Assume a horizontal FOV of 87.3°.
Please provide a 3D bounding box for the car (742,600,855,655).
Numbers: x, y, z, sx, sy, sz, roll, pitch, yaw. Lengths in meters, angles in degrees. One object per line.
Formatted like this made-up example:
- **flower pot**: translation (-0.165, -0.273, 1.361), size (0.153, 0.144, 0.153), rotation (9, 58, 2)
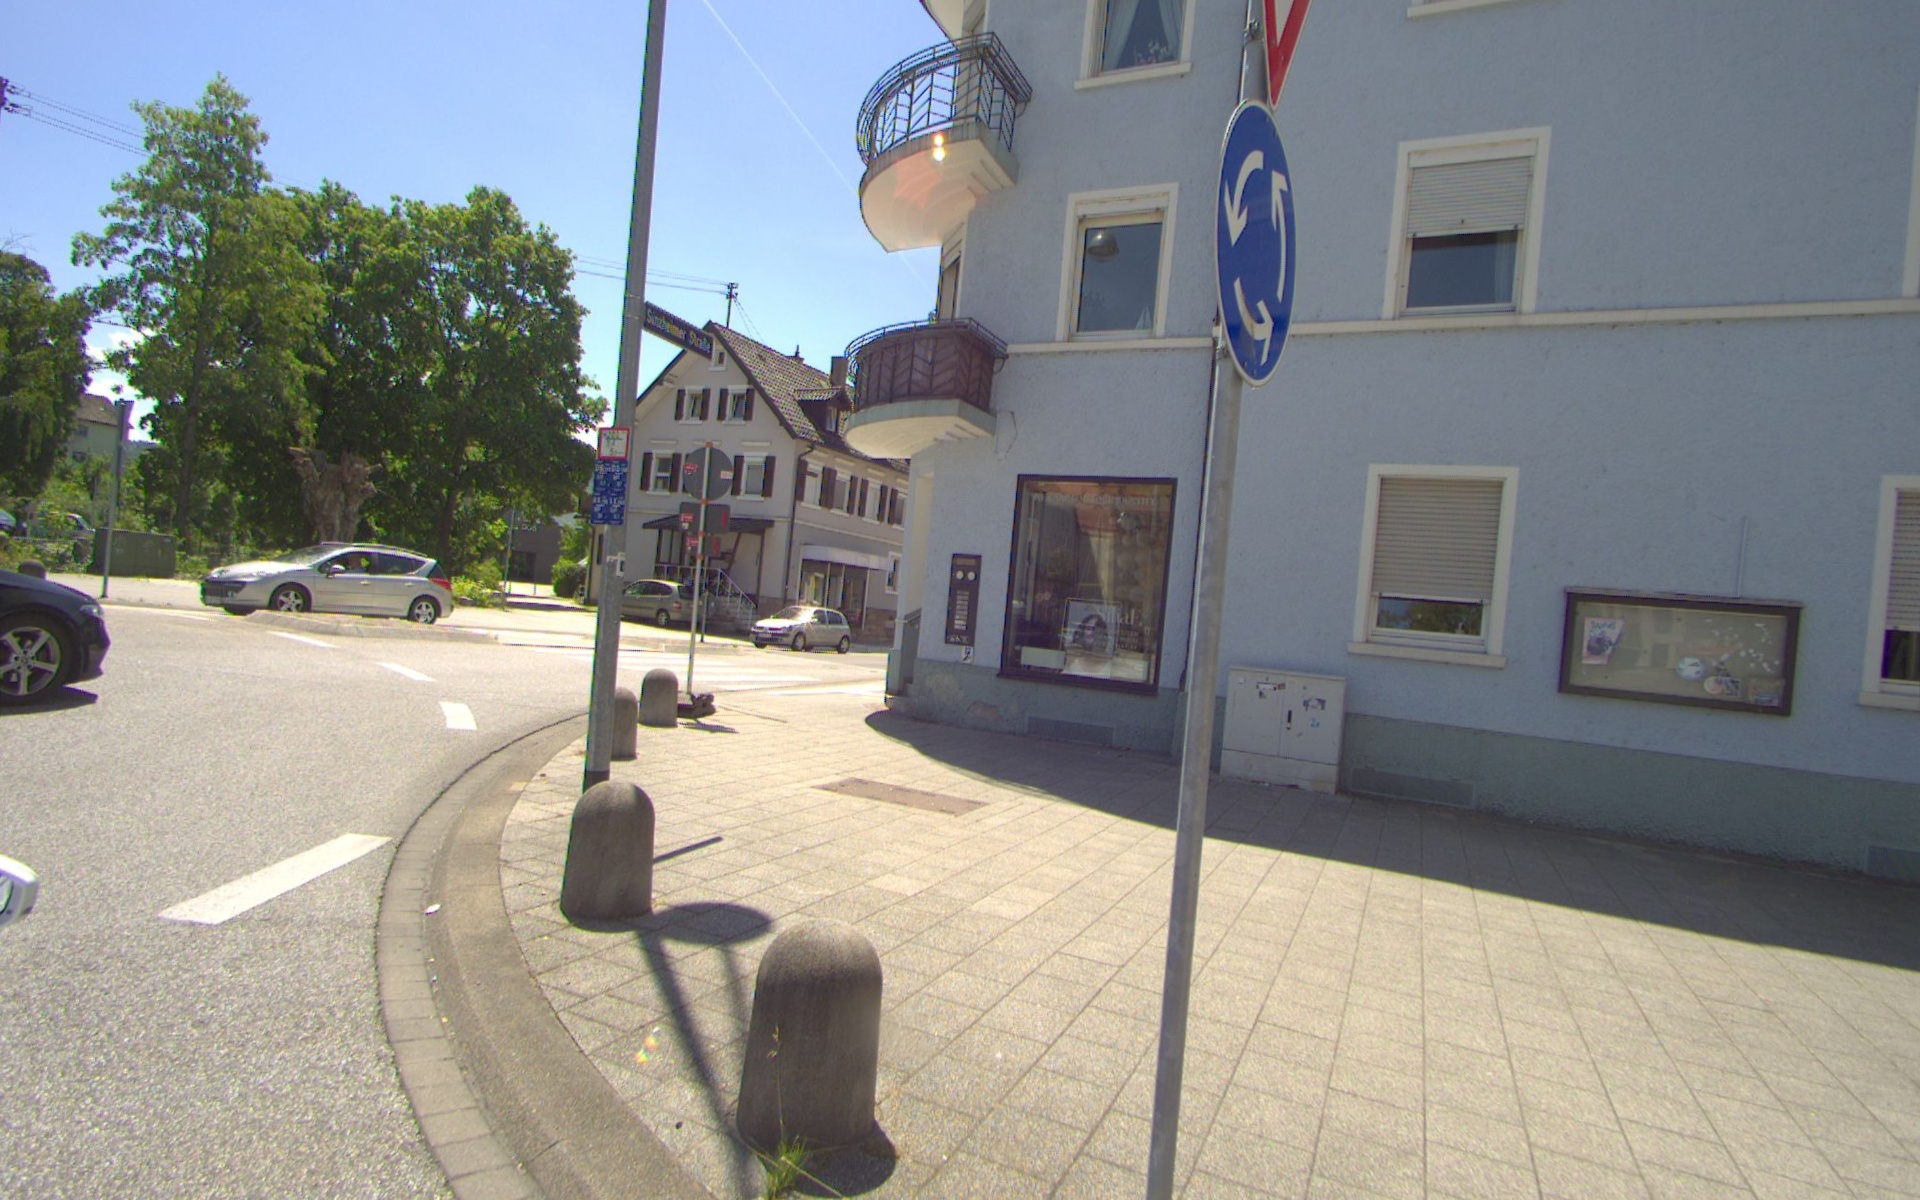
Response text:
- **car**: translation (-4.968, 0.909, 31.432), size (1.522, 1.430, 3.715), rotation (6, -1, 26)

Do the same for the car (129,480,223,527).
- **car**: translation (-43.854, -5.352, 56.333), size (3.967, 2.039, 1.979), rotation (6, 0, -39)

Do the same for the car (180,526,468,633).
- **car**: translation (-11.717, -0.302, 18.862), size (1.715, 1.535, 4.203), rotation (6, -1, 27)

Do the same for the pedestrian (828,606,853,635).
- **pedestrian**: translation (-4.880, 0.840, 41.218), size (0.660, 1.067, 0.699), rotation (6, 0, 24)

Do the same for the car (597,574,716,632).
- **car**: translation (-11.042, 0.119, 36.605), size (3.931, 1.660, 1.755), rotation (6, 0, 28)

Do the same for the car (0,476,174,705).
- **car**: translation (-7.302, -0.203, 5.652), size (1.735, 1.474, 4.441), rotation (9, 0, 9)

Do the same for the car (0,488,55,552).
- **car**: translation (-34.161, -2.937, 34.546), size (3.937, 2.038, 1.994), rotation (6, 0, -15)
